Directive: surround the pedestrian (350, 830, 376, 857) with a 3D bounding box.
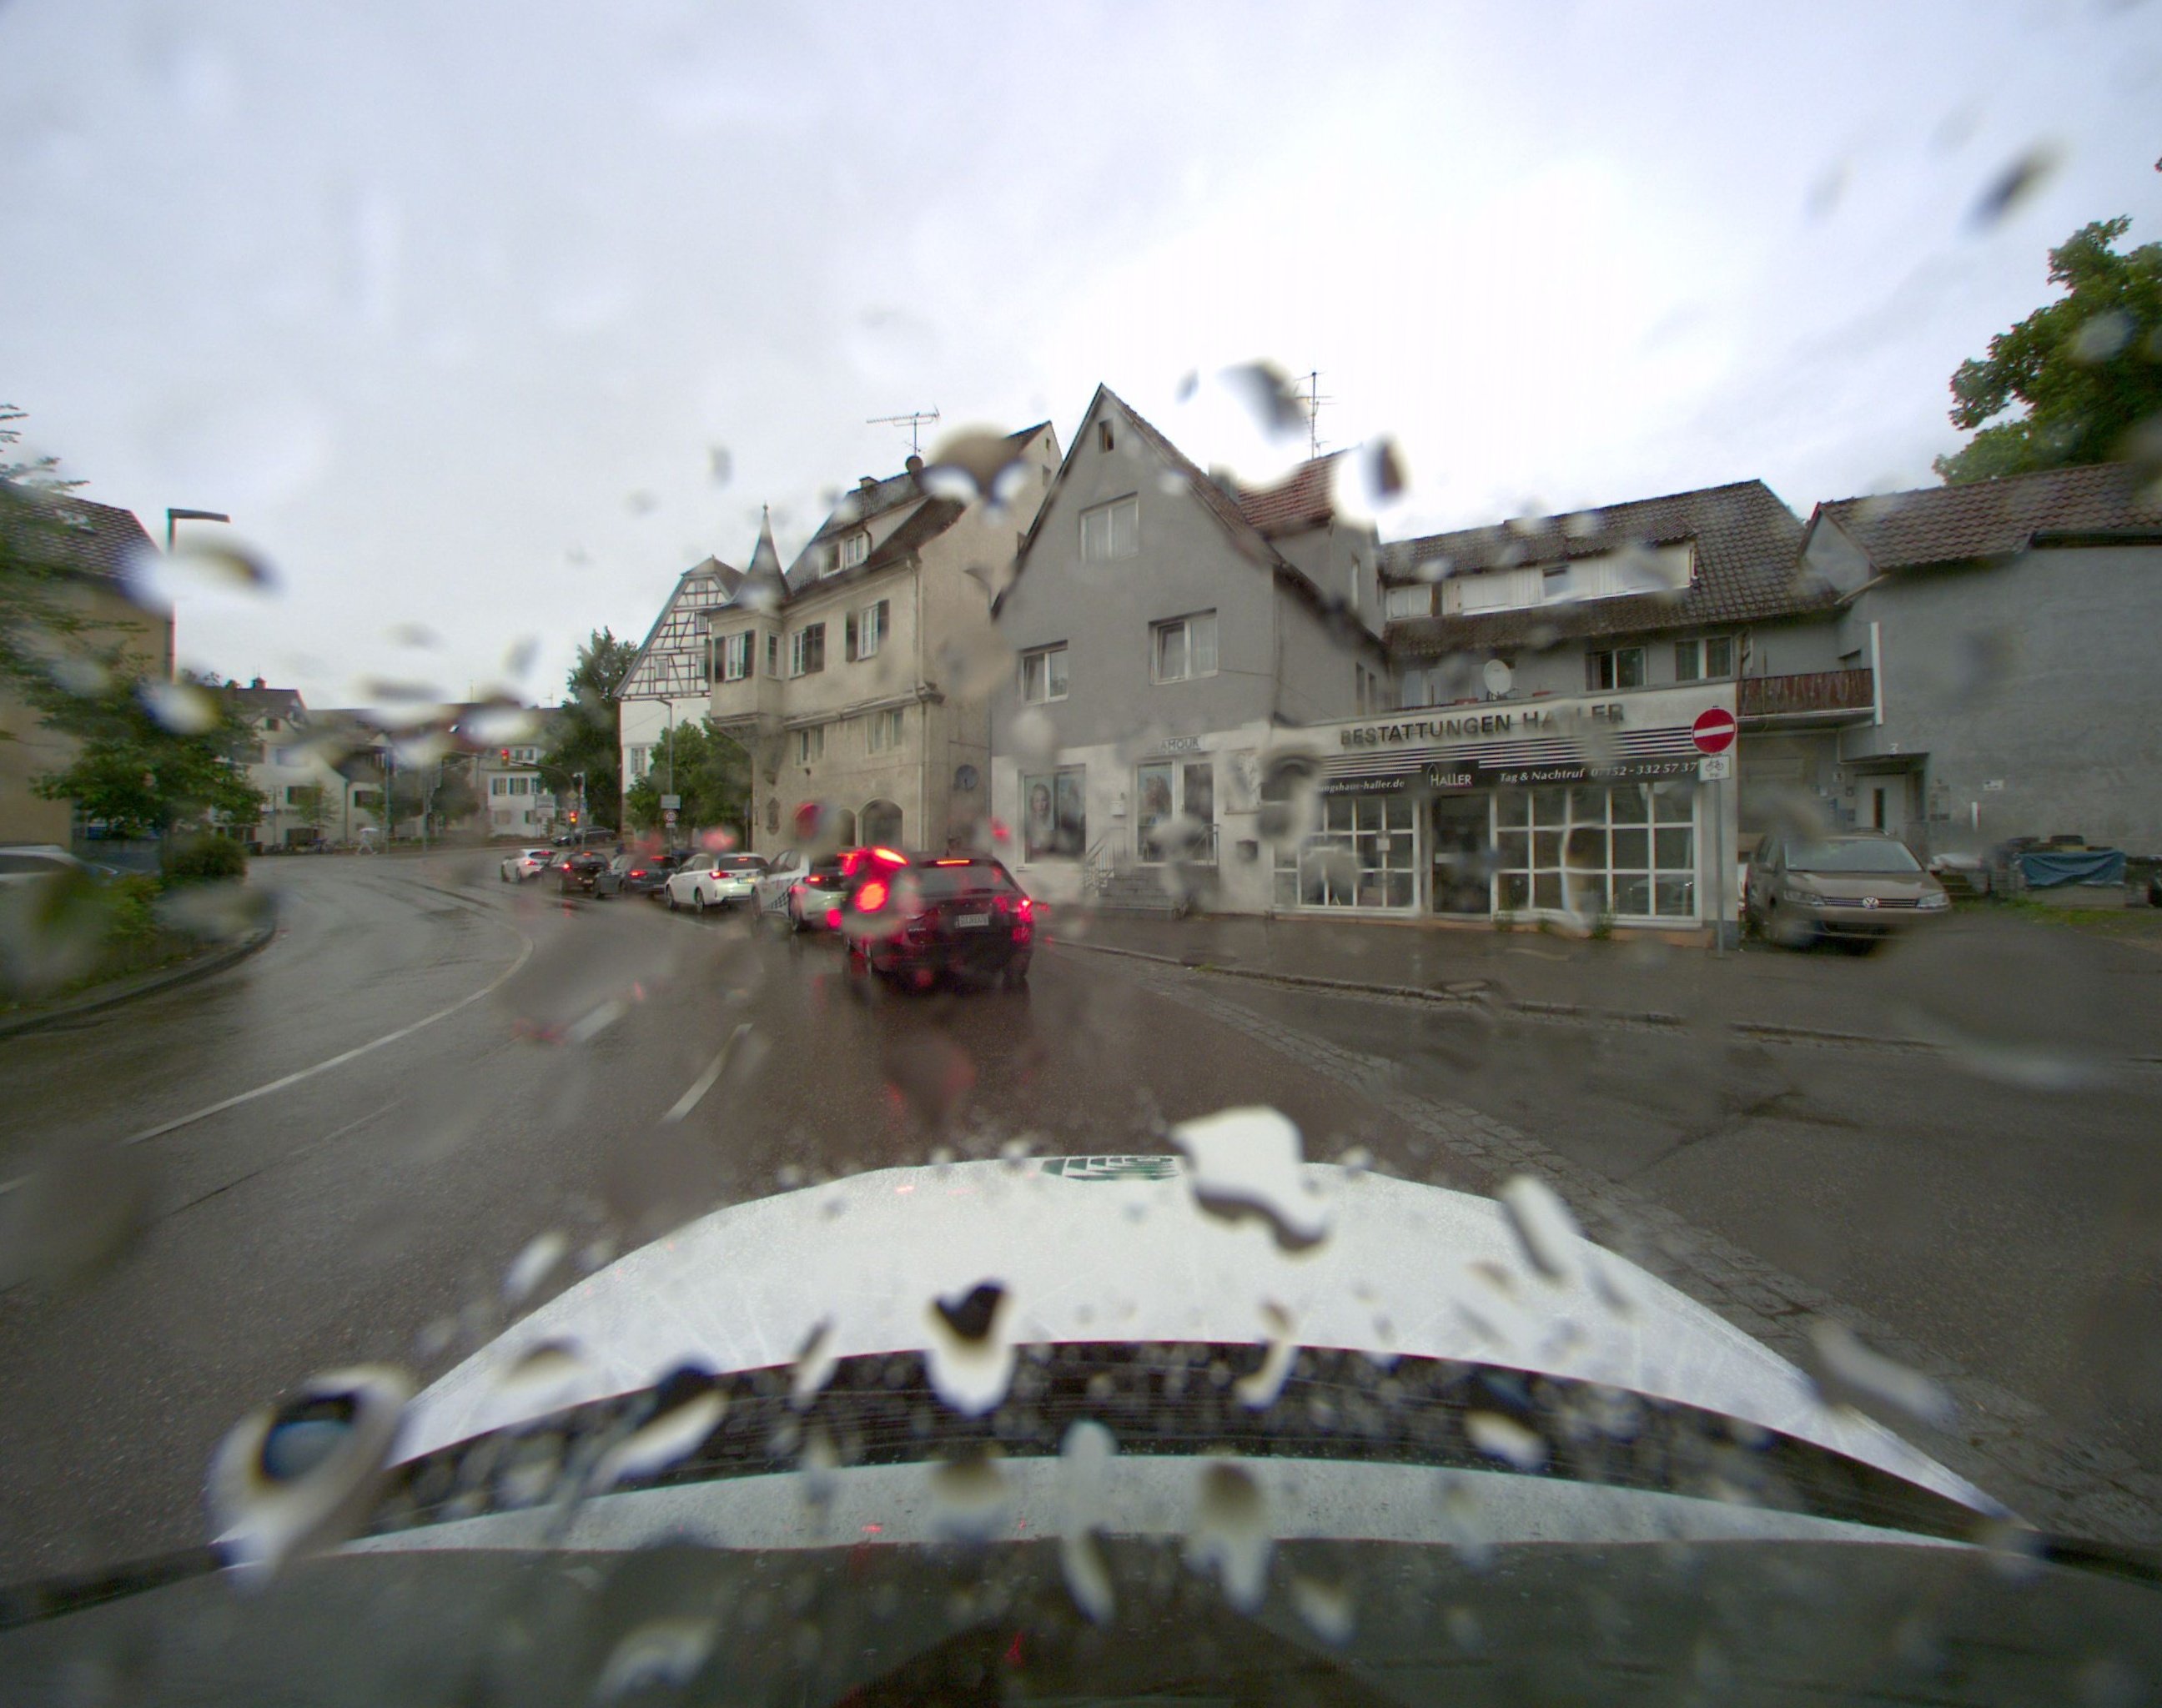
[{"bbox_3d":[-46.702,-0.687,52.949,0.992,1.742,1.156,-1,0,42],"label":"pedestrian"}]

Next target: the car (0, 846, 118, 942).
[{"bbox_3d":[-20.131,0.724,14.453,1.692,1.685,3.558,0,1,24],"label":"car"}]

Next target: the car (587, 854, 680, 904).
[{"bbox_3d":[-14.149,0.744,25.655,3.721,1.361,1.533,1,2,44],"label":"car"}]

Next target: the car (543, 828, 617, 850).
[{"bbox_3d":[-37.544,-1.096,61.130,1.632,1.389,4.555,7,3,23],"label":"car"}]

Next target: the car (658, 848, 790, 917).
[{"bbox_3d":[-9.112,0.630,20.603,1.801,1.465,4.114,-3,2,-42],"label":"car"}]

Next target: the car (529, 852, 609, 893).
[{"bbox_3d":[-18.951,0.638,30.113,3.579,1.312,1.678,1,2,44],"label":"car"}]

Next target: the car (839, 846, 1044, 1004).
[{"bbox_3d":[-1.945,0.665,10.162,1.738,1.450,4.212,-2,2,-21],"label":"car"}]

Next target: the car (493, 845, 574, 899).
[{"bbox_3d":[-23.501,0.700,34.907,3.911,2.090,1.992,1,2,42],"label":"car"}]

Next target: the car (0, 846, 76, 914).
[{"bbox_3d":[-26.201,0.619,18.723,1.692,1.576,3.558,0,1,24],"label":"car"}]

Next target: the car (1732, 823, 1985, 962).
[{"bbox_3d":[11.721,0.408,12.681,1.905,1.727,4.698,-1,2,32],"label":"car"}]

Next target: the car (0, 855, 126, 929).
[{"bbox_3d":[-22.395,0.776,16.518,1.692,1.455,3.558,0,1,24],"label":"car"}]

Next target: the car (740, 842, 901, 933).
[{"bbox_3d":[-5.291,0.582,16.198,1.803,1.517,4.194,-2,1,-36],"label":"car"}]

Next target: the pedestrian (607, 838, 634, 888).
[{"bbox_3d":[-21.741,0.429,38.402,0.872,2.326,1.216,-1,0,-40],"label":"pedestrian"}]
